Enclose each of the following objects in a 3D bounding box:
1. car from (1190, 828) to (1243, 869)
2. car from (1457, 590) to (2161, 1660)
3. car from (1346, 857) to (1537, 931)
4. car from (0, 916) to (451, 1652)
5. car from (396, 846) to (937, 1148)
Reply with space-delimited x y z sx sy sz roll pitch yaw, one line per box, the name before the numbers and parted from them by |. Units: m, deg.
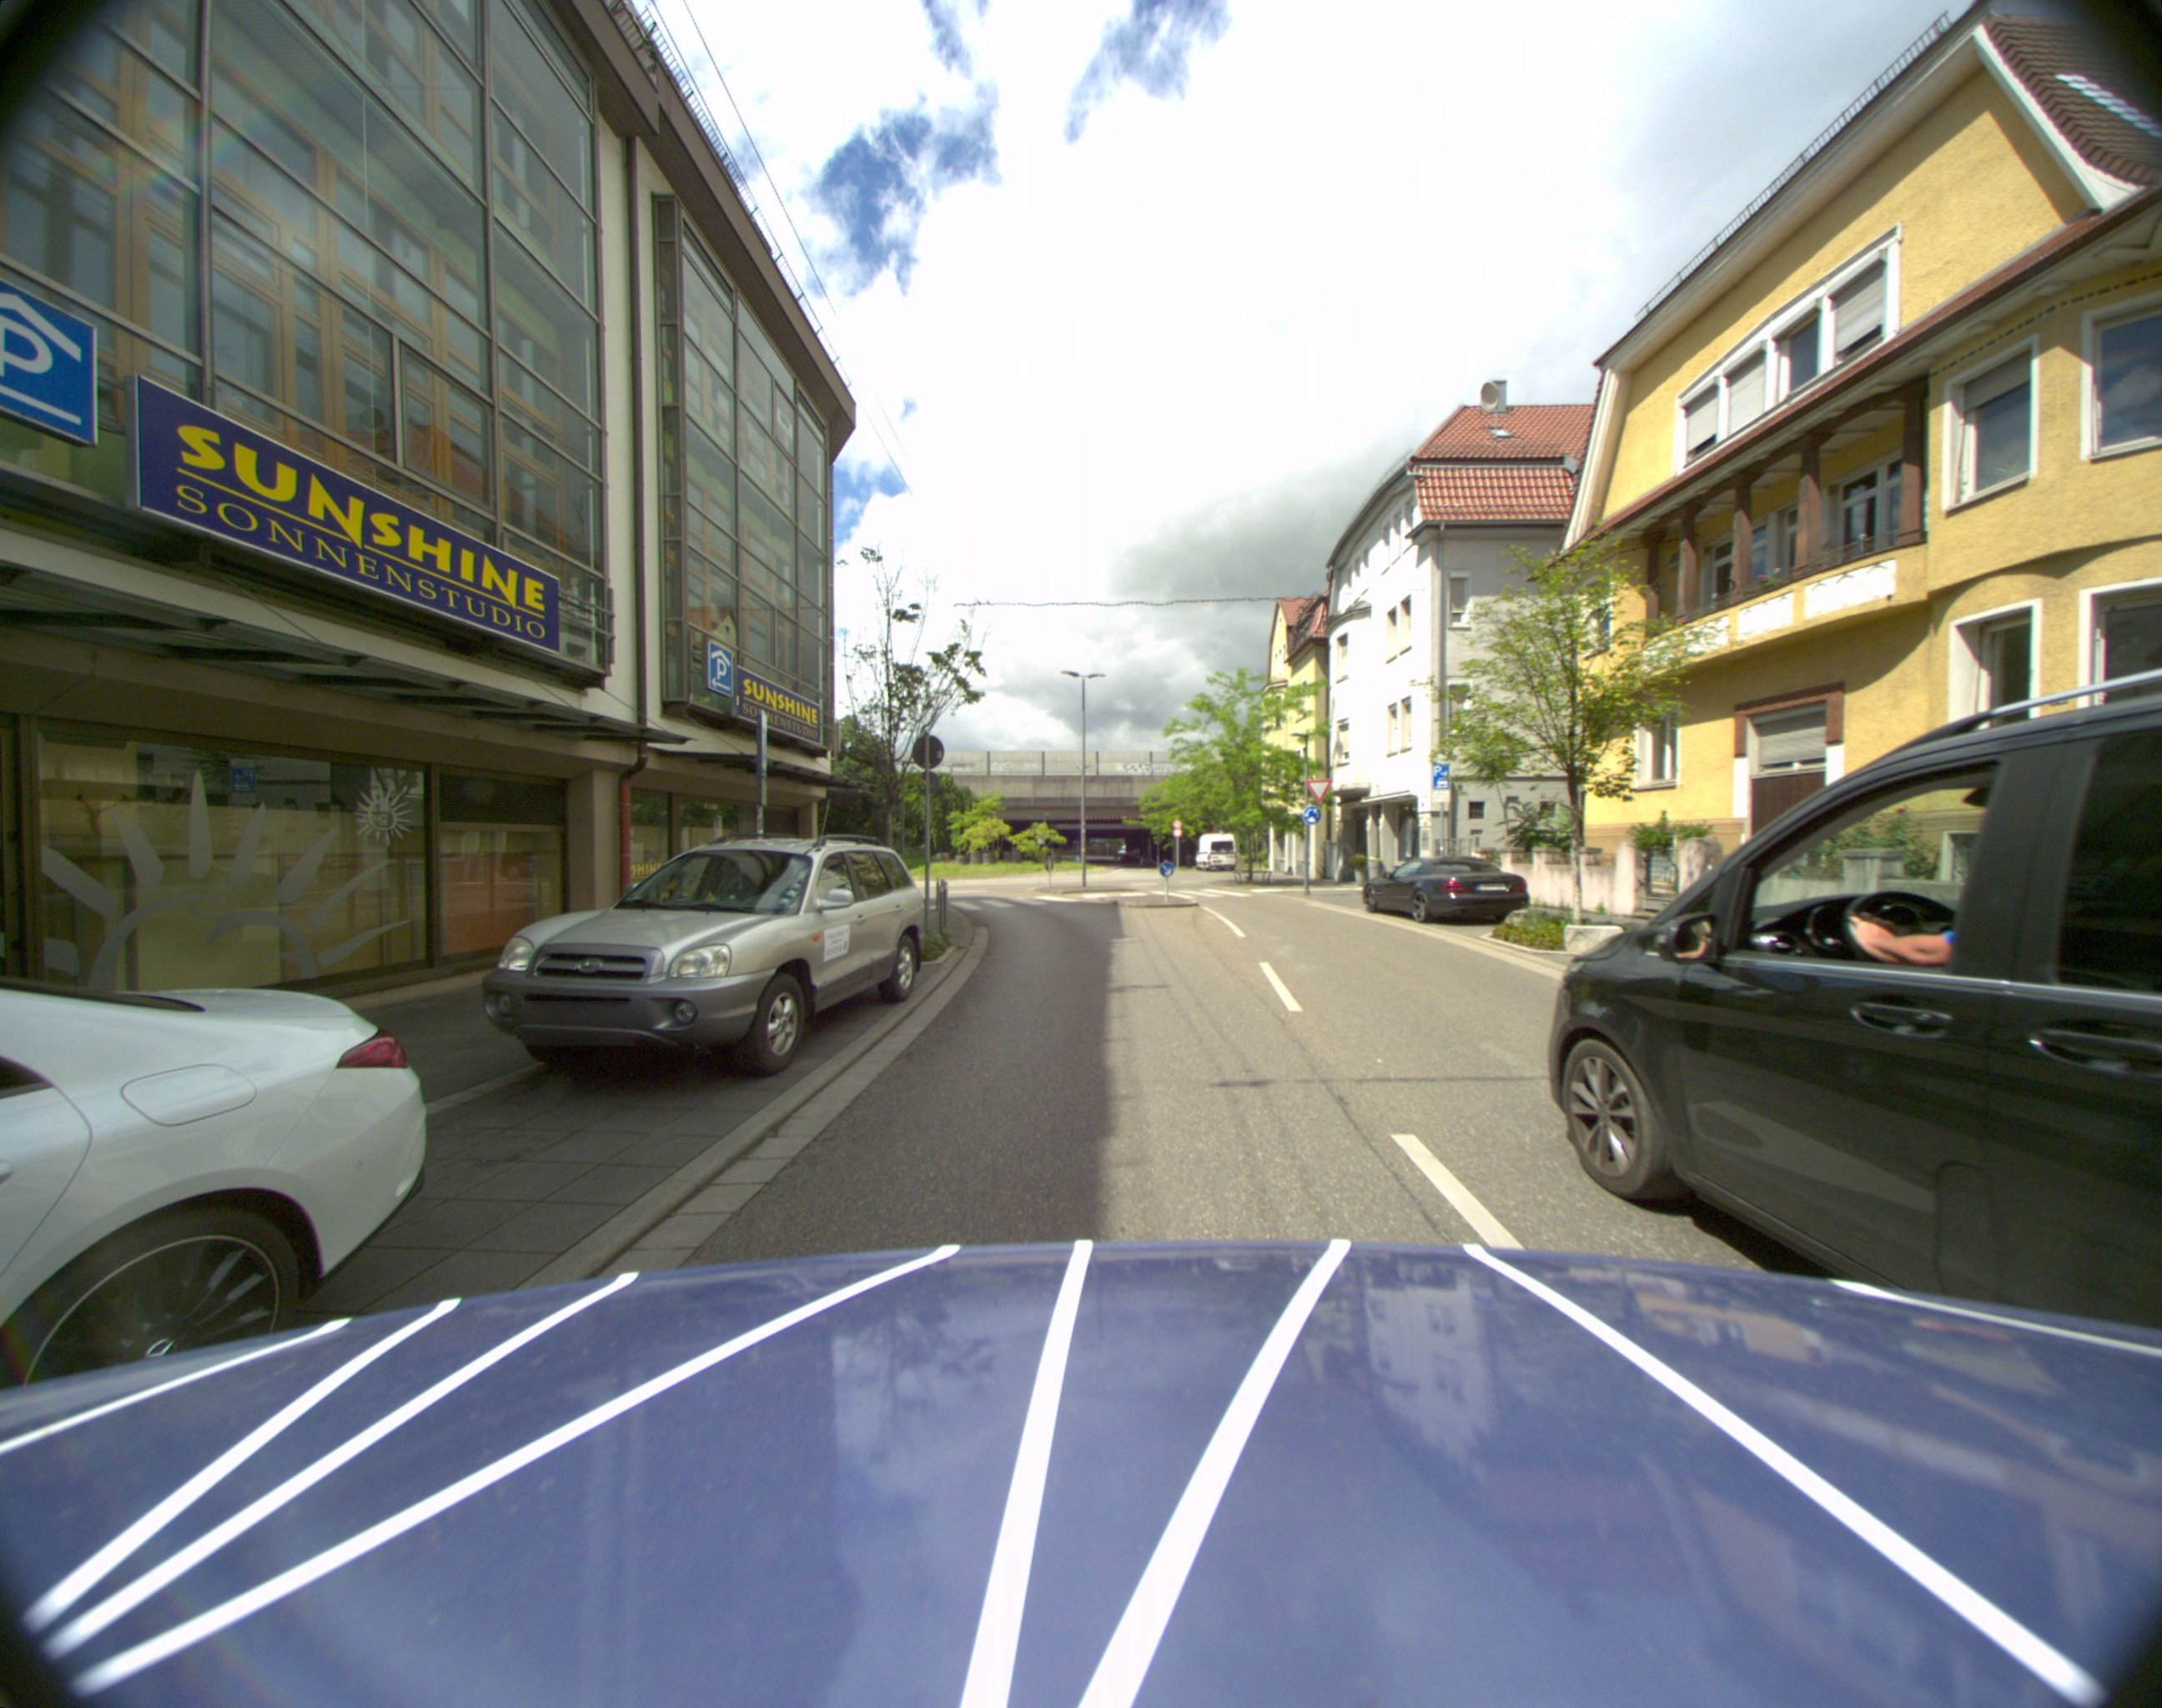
car | 9.549 -0.423 54.087 2.309 2.657 7.267 -2 1 -1
car | 2.904 0.482 1.721 1.876 1.921 5.178 -1 0 4
car | 7.193 0.721 15.736 1.722 1.296 4.465 -1 0 -2
car | -3.246 0.968 0.409 1.856 1.436 4.536 -1 1 3
car | -2.831 0.775 6.558 1.824 1.652 4.468 1 1 7
